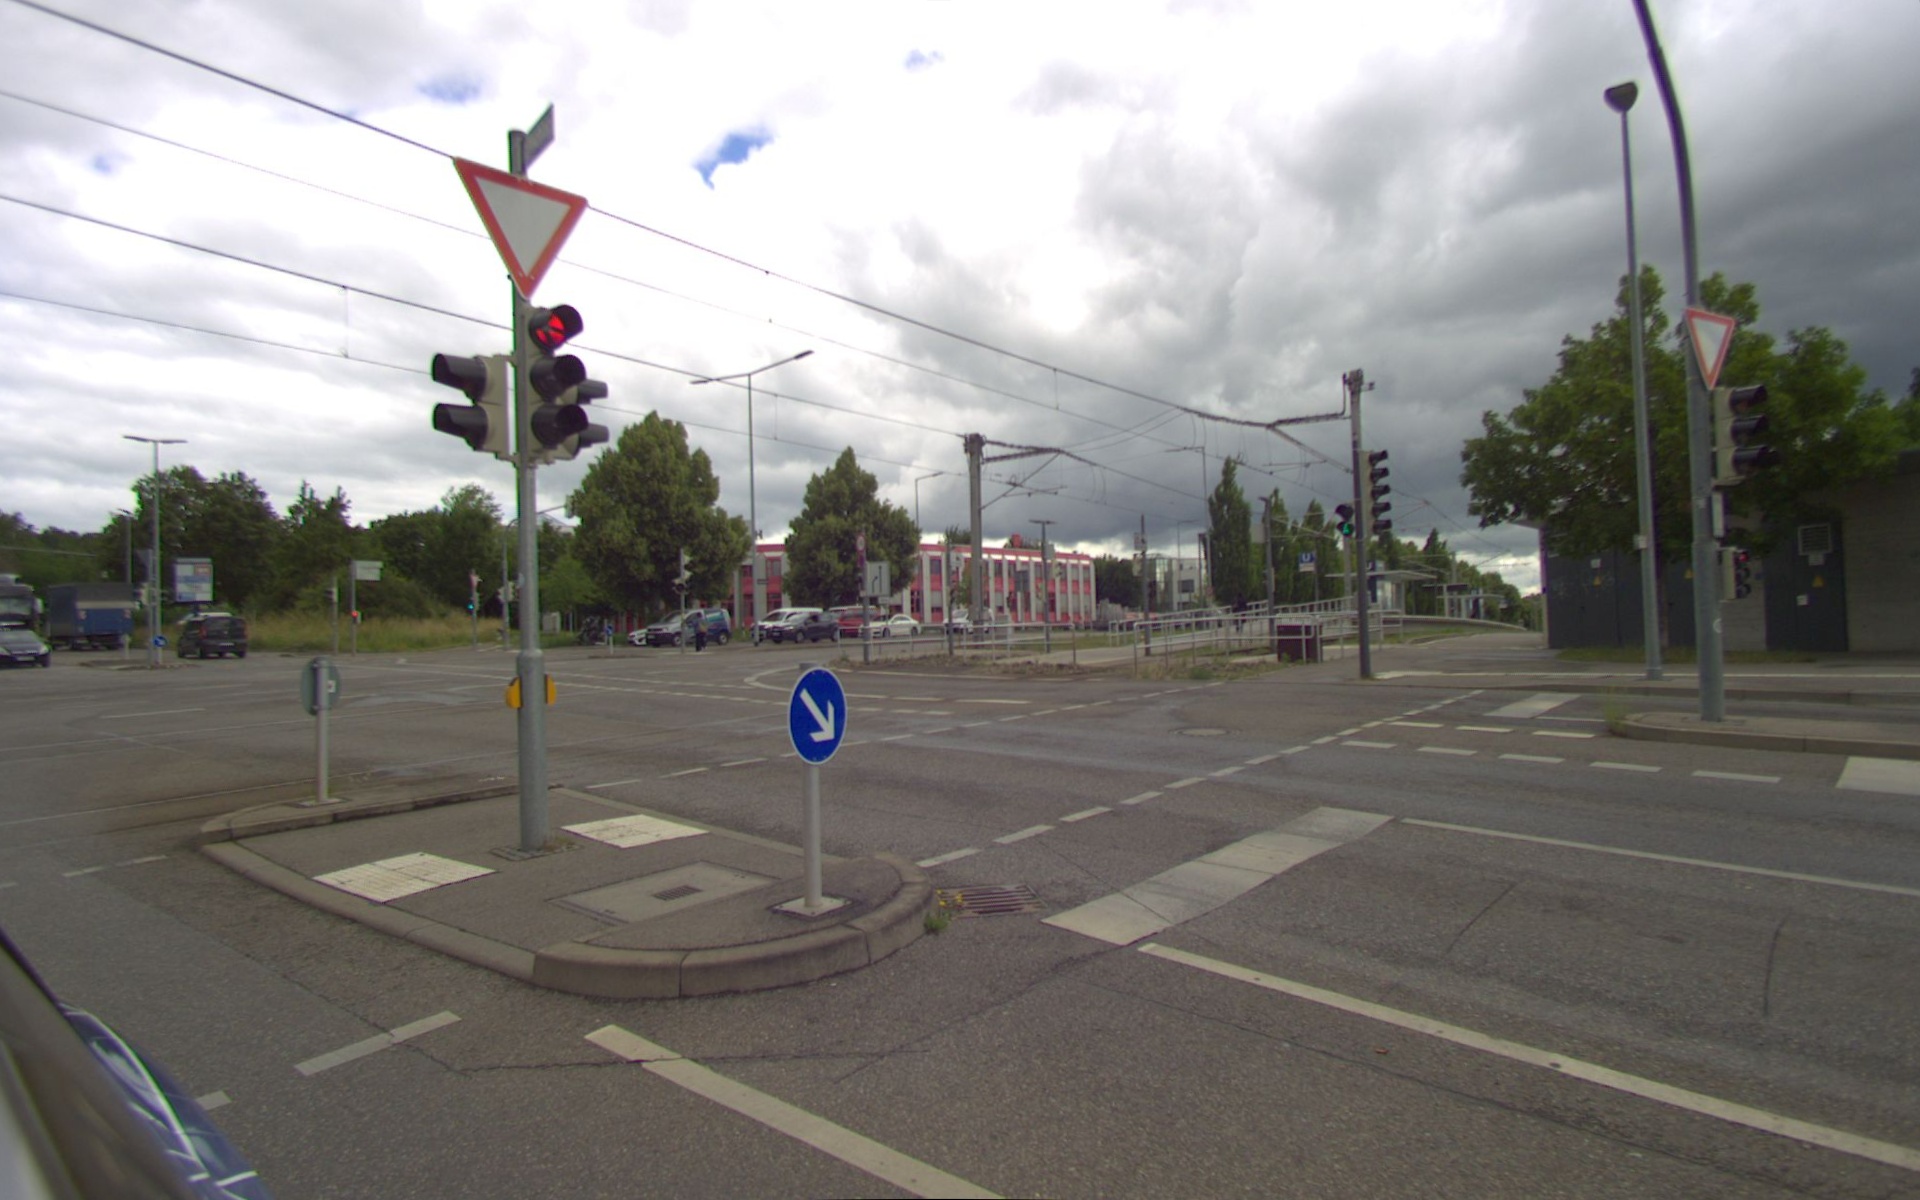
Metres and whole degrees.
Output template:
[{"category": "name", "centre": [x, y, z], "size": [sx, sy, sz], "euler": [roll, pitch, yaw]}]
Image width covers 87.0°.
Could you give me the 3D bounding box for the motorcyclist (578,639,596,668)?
[{"category": "motorcyclist", "centre": [-18.813, 2.674, 51.038], "size": [0.803, 1.432, 0.762], "euler": [-1, -2, -18]}]

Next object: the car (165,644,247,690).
[{"category": "car", "centre": [-33.715, 2.940, 45.205], "size": [4.889, 1.891, 1.973], "euler": [-2, -1, 41]}]

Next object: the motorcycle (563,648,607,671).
[{"category": "motorcycle", "centre": [-18.880, 2.985, 51.005], "size": [2.034, 1.098, 0.762], "euler": [-1, -2, -18]}]

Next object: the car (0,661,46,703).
[{"category": "car", "centre": [-37.237, 3.193, 39.655], "size": [3.863, 1.453, 1.614], "euler": [-2, -1, 40]}]

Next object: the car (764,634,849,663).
[{"category": "car", "centre": [-7.666, 2.465, 50.924], "size": [1.812, 1.351, 4.168], "euler": [-2, -4, 37]}]

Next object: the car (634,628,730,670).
[{"category": "car", "centre": [-13.307, 2.309, 48.606], "size": [1.812, 1.793, 4.168], "euler": [-2, -1, 38]}]

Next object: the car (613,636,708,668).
[{"category": "car", "centre": [-15.730, 2.727, 53.294], "size": [1.836, 1.431, 4.449], "euler": [-5, -3, 44]}]

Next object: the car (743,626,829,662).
[{"category": "car", "centre": [-9.380, 2.354, 54.852], "size": [1.812, 1.806, 4.636], "euler": [-2, -2, 38]}]

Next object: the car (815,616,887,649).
[{"category": "car", "centre": [-6.770, 2.063, 63.298], "size": [2.180, 1.920, 4.401], "euler": [-2, -4, 34]}]

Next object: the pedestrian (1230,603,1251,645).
[{"category": "pedestrian", "centre": [10.733, 0.926, 38.766], "size": [0.563, 1.584, 0.539], "euler": [-2, 1, 36]}]

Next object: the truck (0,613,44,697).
[{"category": "truck", "centre": [-43.352, 2.448, 44.952], "size": [5.954, 3.544, 3.035], "euler": [-2, 0, 39]}]

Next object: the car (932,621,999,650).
[{"category": "car", "centre": [0.459, 2.527, 72.388], "size": [1.950, 1.920, 5.167], "euler": [-2, -1, 40]}]

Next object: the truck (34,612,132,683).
[{"category": "truck", "centre": [-50.741, 2.696, 58.466], "size": [8.377, 3.833, 2.752], "euler": [-2, -1, 38]}]

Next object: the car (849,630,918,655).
[{"category": "car", "centre": [-4.528, 2.549, 60.497], "size": [1.811, 1.351, 4.170], "euler": [-2, -4, 36]}]

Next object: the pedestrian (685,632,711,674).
[{"category": "pedestrian", "centre": [-9.835, 1.972, 37.984], "size": [0.715, 1.542, 0.661], "euler": [-2, -1, 41]}]
